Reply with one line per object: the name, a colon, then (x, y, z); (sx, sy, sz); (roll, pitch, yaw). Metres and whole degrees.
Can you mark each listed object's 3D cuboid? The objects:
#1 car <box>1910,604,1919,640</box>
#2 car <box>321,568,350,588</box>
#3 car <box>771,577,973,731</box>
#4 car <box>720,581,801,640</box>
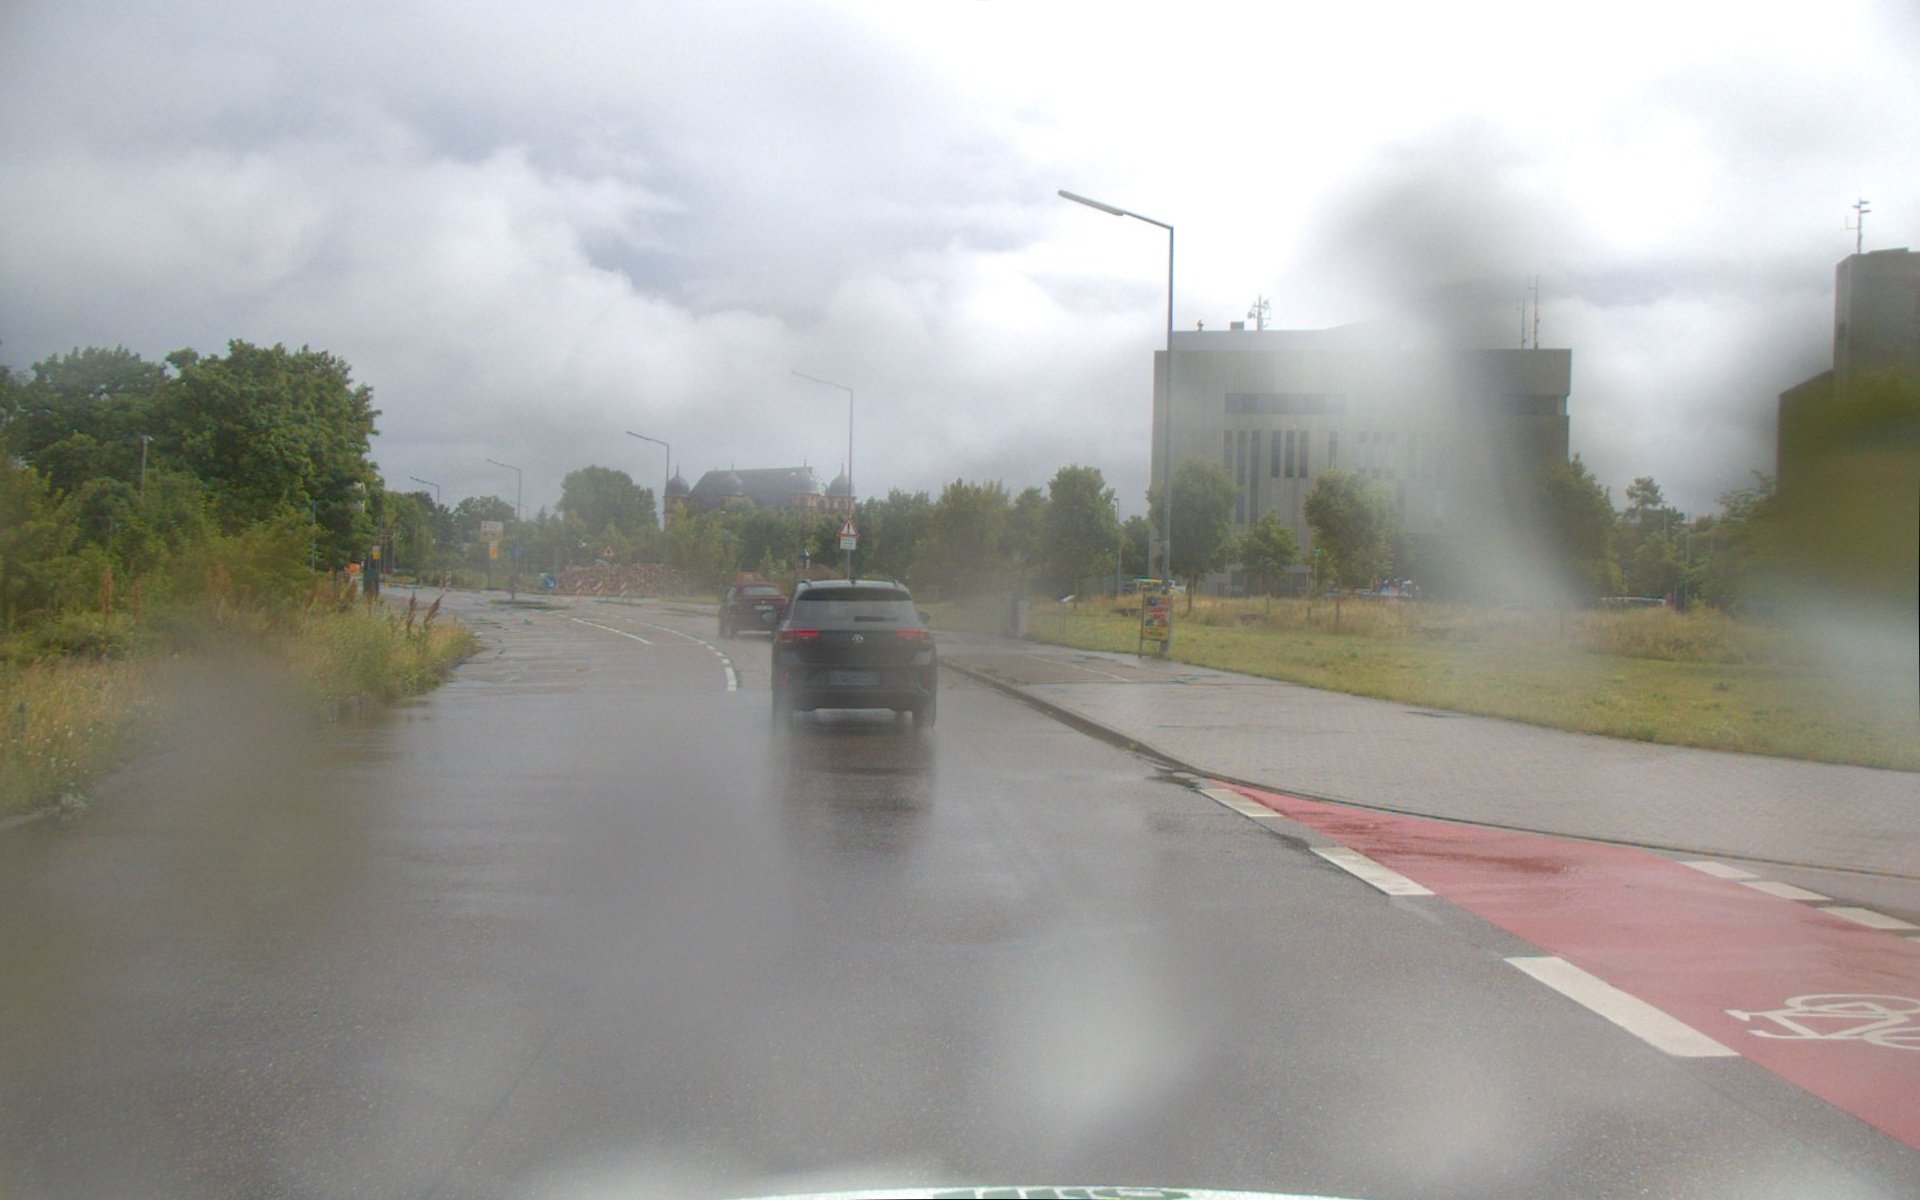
car: (48.534, 1.125, 80.253); (3.903, 1.751, 1.770); (1, 0, 17)
car: (-53.520, -1.904, 141.739); (1.821, 1.670, 3.977); (1, 0, -29)
car: (-1.113, 0.525, 18.724); (1.949, 1.547, 3.993); (1, 1, -8)
car: (-5.387, 0.246, 44.319); (1.809, 1.467, 3.988); (-1, 1, -12)
